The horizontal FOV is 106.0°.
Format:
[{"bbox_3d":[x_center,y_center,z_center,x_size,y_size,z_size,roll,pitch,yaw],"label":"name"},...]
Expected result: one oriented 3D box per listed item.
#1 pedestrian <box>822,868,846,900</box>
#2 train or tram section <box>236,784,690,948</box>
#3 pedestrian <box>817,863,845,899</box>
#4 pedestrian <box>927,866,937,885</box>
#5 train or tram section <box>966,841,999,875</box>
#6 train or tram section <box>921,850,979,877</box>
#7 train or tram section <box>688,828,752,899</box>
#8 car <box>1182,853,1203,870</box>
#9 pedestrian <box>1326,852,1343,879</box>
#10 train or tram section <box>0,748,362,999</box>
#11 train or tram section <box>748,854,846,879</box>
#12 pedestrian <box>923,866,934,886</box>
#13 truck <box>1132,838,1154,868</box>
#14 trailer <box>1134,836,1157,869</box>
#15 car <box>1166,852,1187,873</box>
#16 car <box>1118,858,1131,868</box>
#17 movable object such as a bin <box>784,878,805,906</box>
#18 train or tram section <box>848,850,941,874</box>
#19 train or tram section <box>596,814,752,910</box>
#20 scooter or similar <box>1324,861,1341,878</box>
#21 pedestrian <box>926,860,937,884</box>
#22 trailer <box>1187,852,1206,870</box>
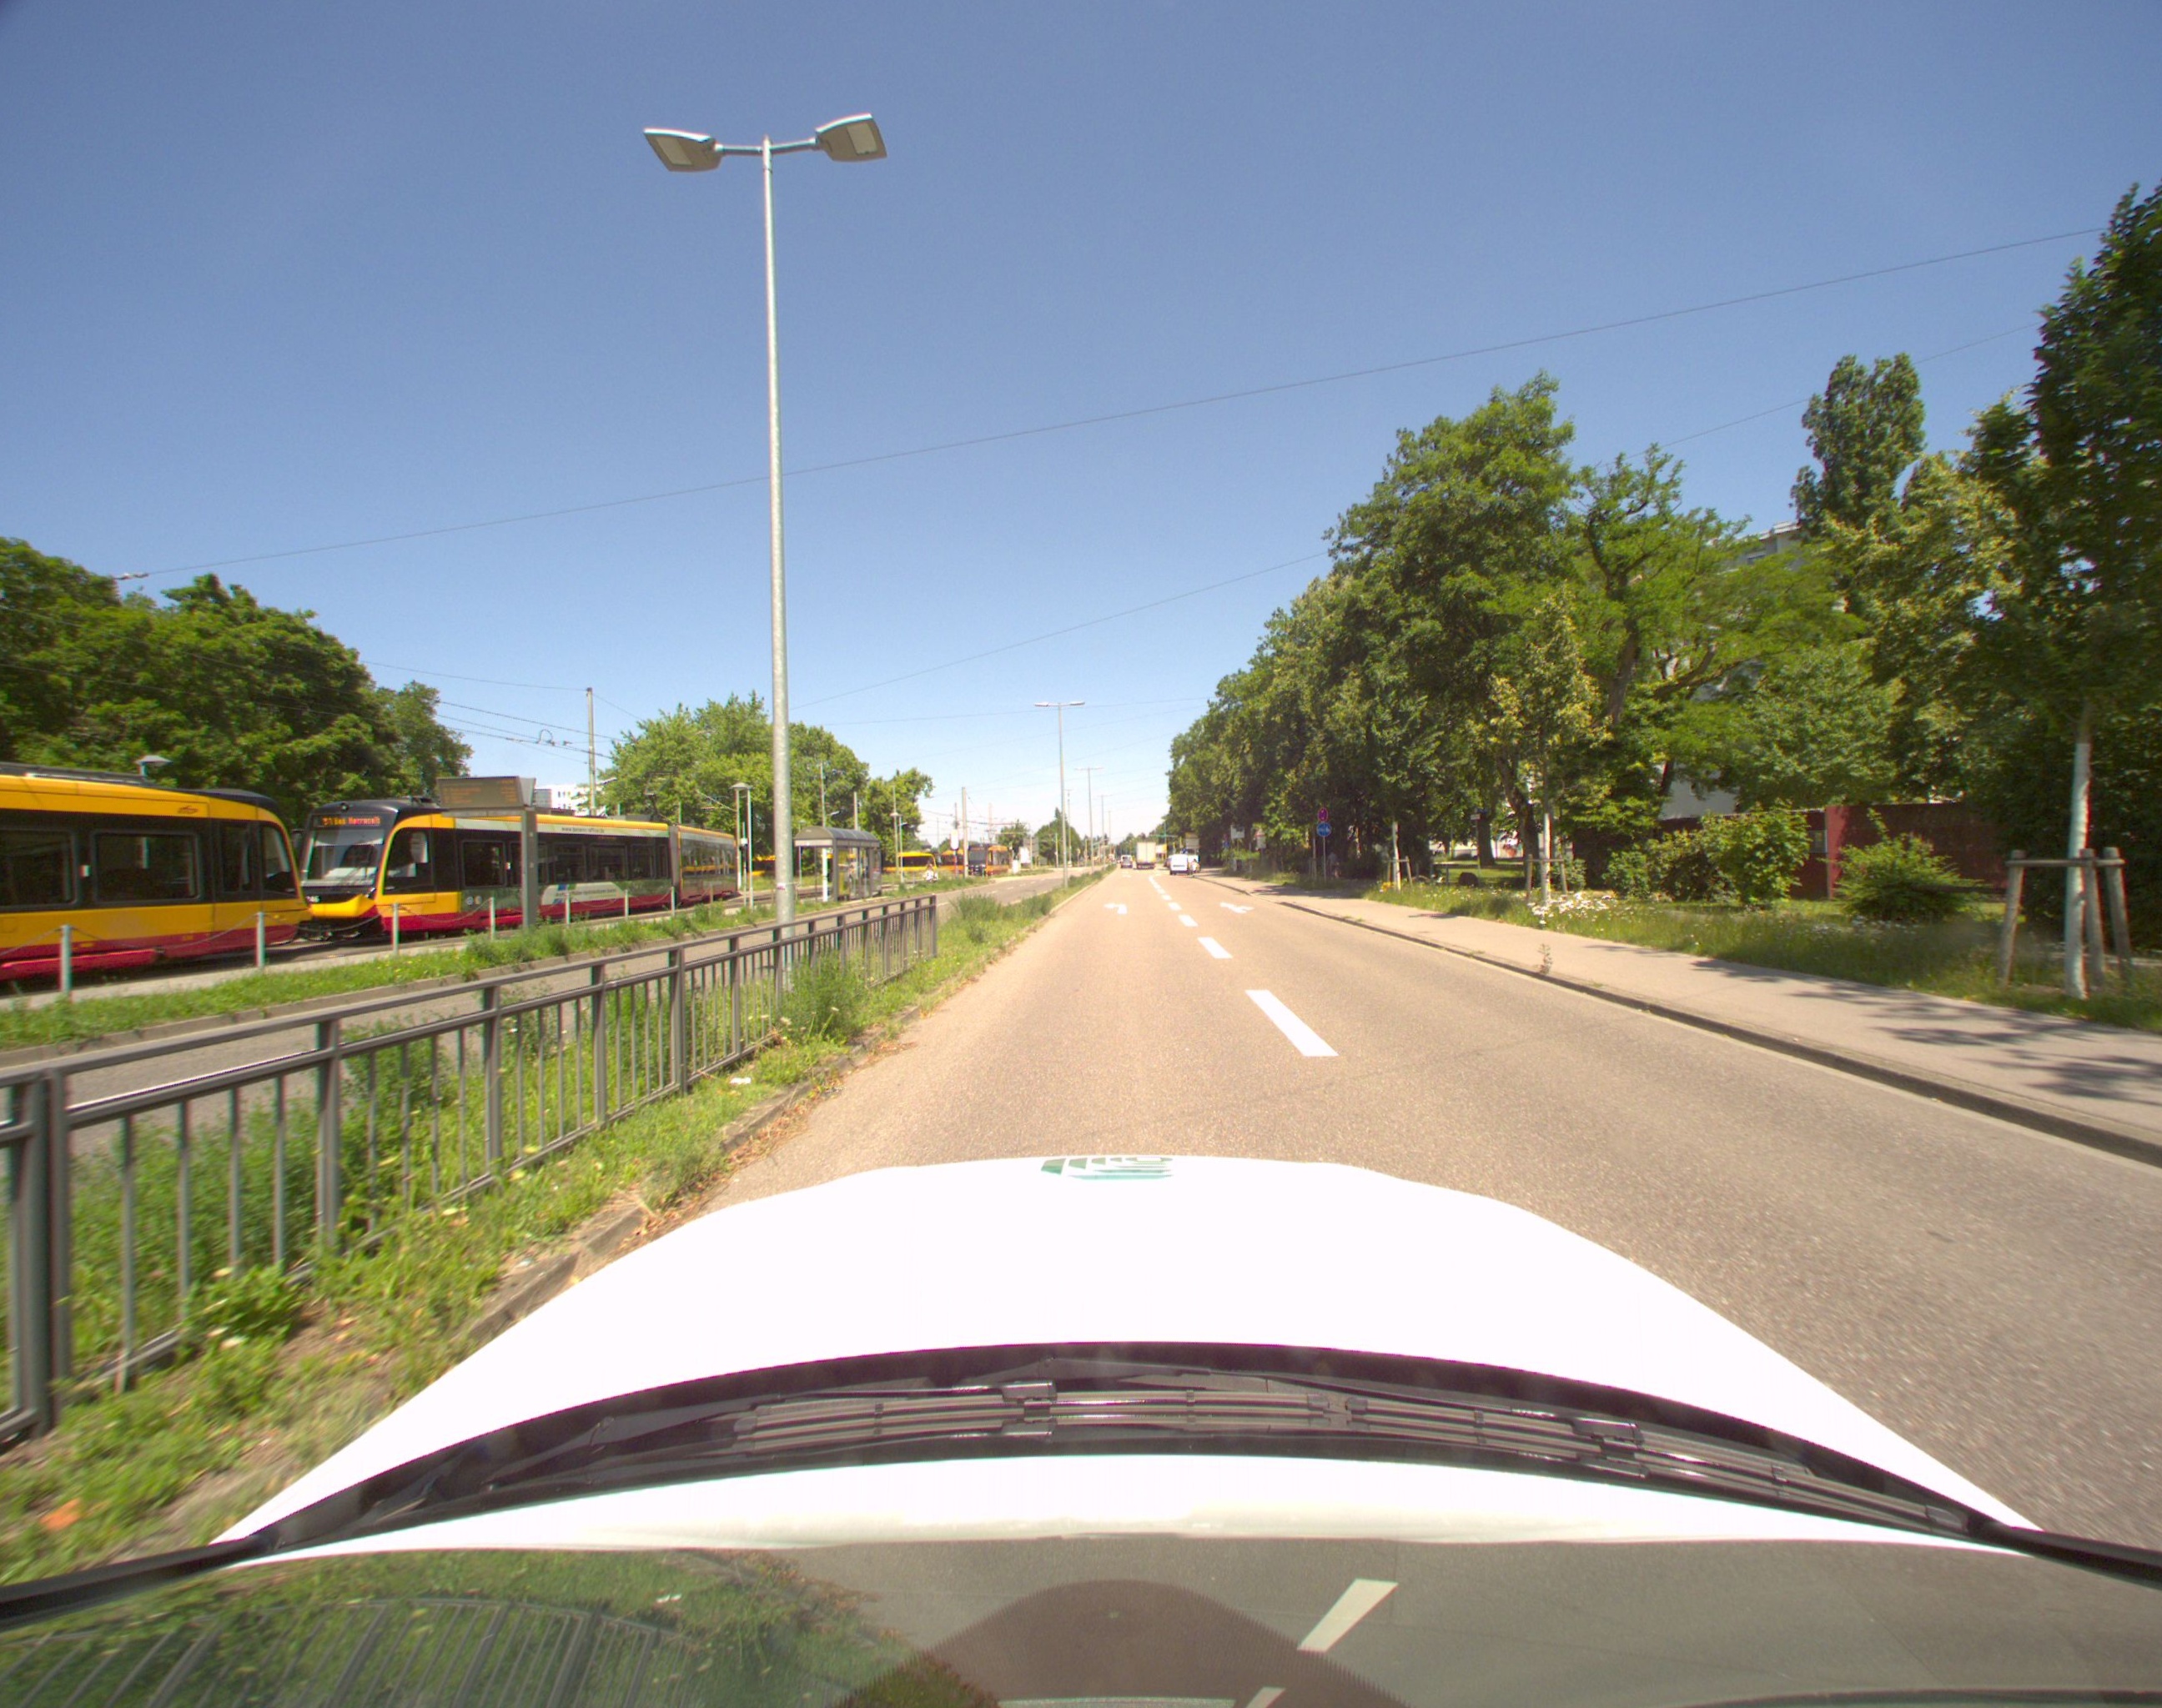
[{"bbox_3d":[-9.976,1.209,32.958,0.698,1.283,0.840,0,0,1],"label":"pedestrian"},{"bbox_3d":[-16.994,0.287,24.953,3.032,3.624,13.901,0,0,1],"label":"train or tram section"},{"bbox_3d":[-10.919,1.164,35.597,0.927,1.546,0.986,0,0,1],"label":"pedestrian"},{"bbox_3d":[-9.320,1.362,50.881,0.492,1.189,0.401,0,-1,5],"label":"pedestrian"},{"bbox_3d":[-10.579,0.417,88.574,3.031,3.466,13.271,0,0,-4],"label":"train or tram section"},{"bbox_3d":[-17.869,1.255,110.208,3.057,3.466,12.620,0,0,-32],"label":"train or tram section"},{"bbox_3d":[-21.330,0.514,48.177,3.058,3.624,12.352,0,0,-24],"label":"train or tram section"},{"bbox_3d":[11.122,0.745,81.372,1.693,1.654,4.400,0,0,2],"label":"car"},{"bbox_3d":[13.326,0.583,42.790,0.705,1.398,0.764,0,0,4],"label":"pedestrian"},{"bbox_3d":[-17.806,0.291,11.412,3.030,3.767,13.274,0,0,4],"label":"train or tram section"},{"bbox_3d":[-41.292,1.777,118.933,13.254,3.466,3.029,0,0,-17],"label":"train or tram section"},{"bbox_3d":[-9.436,1.367,50.386,0.578,1.189,0.537,0,0,3],"label":"pedestrian"},{"bbox_3d":[9.181,-0.174,121.642,2.816,4.344,8.288,0,0,2],"label":"truck"},{"bbox_3d":[8.921,-0.174,113.092,2.816,4.421,8.753,0,0,2],"label":"trailer"},{"bbox_3d":[8.378,0.711,71.512,1.702,1.747,4.433,0,0,4],"label":"car"},{"bbox_3d":[6.585,1.368,124.275,1.885,1.372,4.432,1,-2,3],"label":"car"},{"bbox_3d":[-10.281,1.368,29.232,0.480,0.978,0.645,-2,-1,-1],"label":"movable object such as a bin"},{"bbox_3d":[-26.946,1.147,117.880,12.643,3.466,3.052,0,0,6],"label":"train or tram section"},{"bbox_3d":[-17.887,0.310,36.997,3.045,3.624,12.405,0,0,-11],"label":"train or tram section"},{"bbox_3d":[13.369,0.837,43.332,0.705,0.893,0.764,0,0,4],"label":"scooter or similar"},{"bbox_3d":[-9.524,1.144,51.824,0.532,1.565,0.583,0,0,2],"label":"pedestrian"},{"bbox_3d":[11.003,0.700,77.737,1.463,1.669,2.857,0,0,2],"label":"trailer"}]
